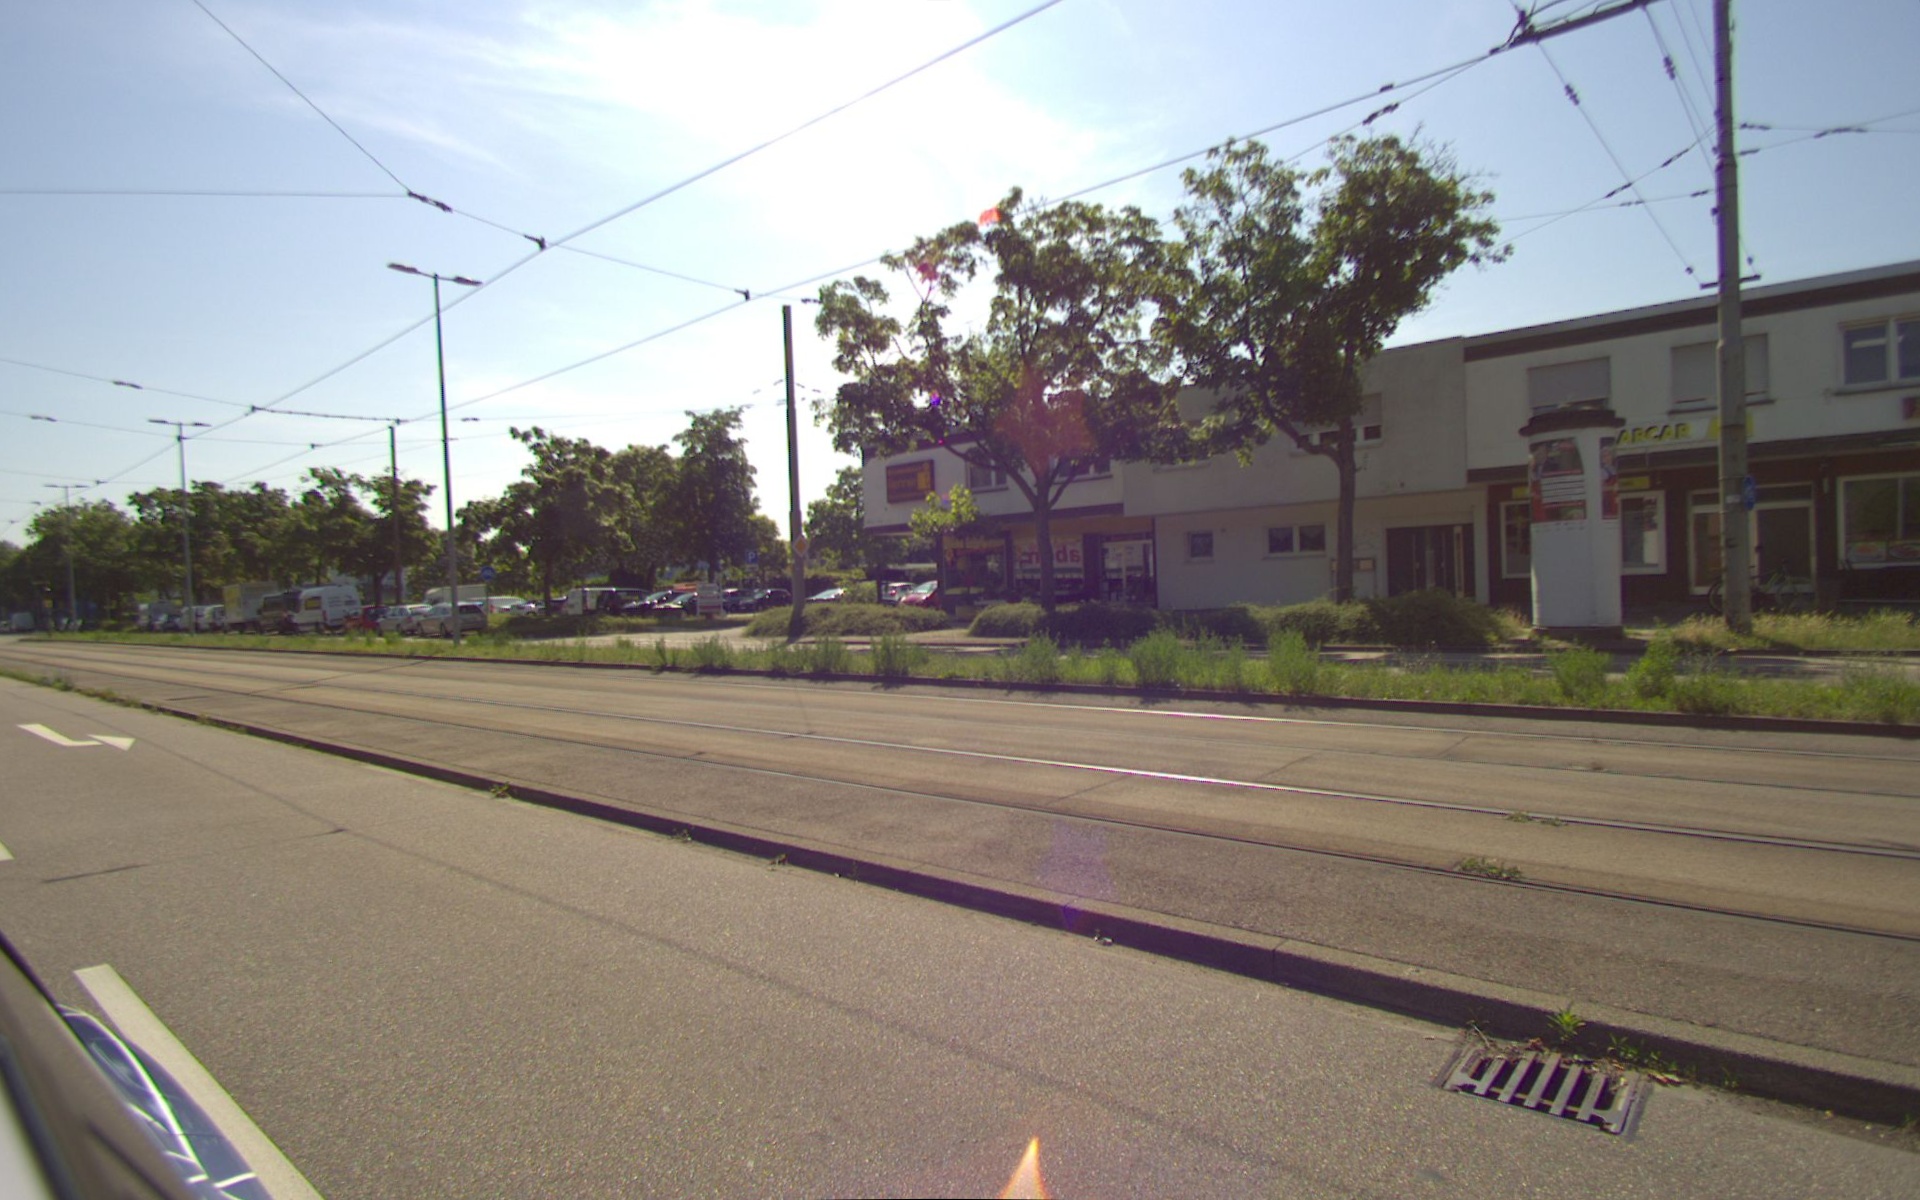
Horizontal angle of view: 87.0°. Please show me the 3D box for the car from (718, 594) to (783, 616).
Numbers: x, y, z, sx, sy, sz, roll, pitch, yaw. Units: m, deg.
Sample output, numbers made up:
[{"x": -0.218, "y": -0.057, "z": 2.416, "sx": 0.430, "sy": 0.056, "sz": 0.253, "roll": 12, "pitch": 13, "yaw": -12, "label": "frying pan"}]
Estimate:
[{"x": -14.428, "y": 0.345, "z": 69.872, "sx": 1.676, "sy": 1.345, "sz": 4.197, "roll": -2, "pitch": 1, "yaw": 43, "label": "car"}]

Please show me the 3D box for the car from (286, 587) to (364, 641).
[{"x": -34.881, "y": 0.793, "z": 55.568, "sx": 5.201, "sy": 2.673, "sz": 2.036, "roll": -2, "pitch": 4, "yaw": 41, "label": "car"}]

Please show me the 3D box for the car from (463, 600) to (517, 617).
[{"x": -43.483, "y": 0.766, "z": 93.606, "sx": 1.676, "sy": 1.345, "sz": 4.198, "roll": -2, "pitch": 1, "yaw": 42, "label": "car"}]

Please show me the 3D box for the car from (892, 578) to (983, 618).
[{"x": -0.980, "y": -0.116, "z": 45.988, "sx": 1.676, "sy": 1.616, "sz": 4.197, "roll": -2, "pitch": 1, "yaw": 43, "label": "car"}]

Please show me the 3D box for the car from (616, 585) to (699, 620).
[{"x": -15.667, "y": 0.129, "z": 52.476, "sx": 1.676, "sy": 1.646, "sz": 3.761, "roll": -2, "pitch": 1, "yaw": 43, "label": "car"}]

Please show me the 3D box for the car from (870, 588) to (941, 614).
[{"x": -3.178, "y": 0.048, "z": 59.743, "sx": 1.676, "sy": 1.345, "sz": 4.197, "roll": -2, "pitch": 1, "yaw": 43, "label": "car"}]

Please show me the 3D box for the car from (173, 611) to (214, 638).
[{"x": -57.439, "y": 1.867, "z": 75.824, "sx": 4.056, "sy": 1.859, "sz": 1.484, "roll": -2, "pitch": 4, "yaw": 40, "label": "car"}]

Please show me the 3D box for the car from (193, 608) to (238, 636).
[{"x": -52.365, "y": 1.549, "z": 71.155, "sx": 4.631, "sy": 1.817, "sz": 1.483, "roll": -2, "pitch": 4, "yaw": 41, "label": "car"}]

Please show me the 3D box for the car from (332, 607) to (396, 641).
[{"x": -30.838, "y": 1.244, "z": 52.337, "sx": 3.791, "sy": 1.544, "sz": 1.654, "roll": -2, "pitch": 4, "yaw": 41, "label": "car"}]

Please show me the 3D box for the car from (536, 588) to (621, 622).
[{"x": -21.734, "y": 0.293, "z": 57.719, "sx": 1.988, "sy": 1.751, "sz": 4.068, "roll": -2, "pitch": 1, "yaw": 38, "label": "car"}]

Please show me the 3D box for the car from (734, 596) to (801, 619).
[{"x": -12.824, "y": 0.476, "z": 67.621, "sx": 1.676, "sy": 1.345, "sz": 4.197, "roll": -2, "pitch": 1, "yaw": 43, "label": "car"}]

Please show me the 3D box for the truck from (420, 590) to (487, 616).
[{"x": -50.598, "y": 0.288, "z": 101.190, "sx": 1.988, "sy": 2.398, "sz": 5.584, "roll": -2, "pitch": 1, "yaw": 38, "label": "truck"}]

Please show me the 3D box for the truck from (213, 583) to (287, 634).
[{"x": -45.815, "y": 0.562, "z": 65.235, "sx": 5.902, "sy": 2.956, "sz": 2.476, "roll": -2, "pitch": 4, "yaw": 42, "label": "truck"}]

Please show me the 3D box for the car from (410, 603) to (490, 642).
[{"x": -22.829, "y": 1.008, "z": 45.246, "sx": 4.255, "sy": 1.544, "sz": 1.654, "roll": -2, "pitch": 4, "yaw": 41, "label": "car"}]

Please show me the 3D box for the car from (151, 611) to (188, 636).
[{"x": -62.072, "y": 1.856, "z": 79.455, "sx": 3.685, "sy": 1.799, "sz": 1.484, "roll": -2, "pitch": 4, "yaw": 40, "label": "car"}]

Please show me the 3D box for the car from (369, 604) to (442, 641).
[{"x": -26.867, "y": 1.099, "z": 49.025, "sx": 4.255, "sy": 1.544, "sz": 1.654, "roll": -2, "pitch": 4, "yaw": 41, "label": "car"}]

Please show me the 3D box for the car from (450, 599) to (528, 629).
[{"x": -30.982, "y": 0.942, "z": 66.479, "sx": 5.739, "sy": 1.824, "sz": 2.560, "roll": -2, "pitch": 1, "yaw": 42, "label": "car"}]

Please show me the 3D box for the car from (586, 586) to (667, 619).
[{"x": -17.917, "y": 0.126, "z": 54.497, "sx": 1.676, "sy": 1.646, "sz": 3.761, "roll": -2, "pitch": 1, "yaw": 43, "label": "car"}]

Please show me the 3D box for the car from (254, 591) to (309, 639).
[{"x": -39.826, "y": 0.902, "z": 59.361, "sx": 4.005, "sy": 2.643, "sz": 1.483, "roll": -2, "pitch": 4, "yaw": 41, "label": "car"}]

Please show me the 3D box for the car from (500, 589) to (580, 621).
[{"x": -25.717, "y": 0.280, "z": 62.054, "sx": 1.988, "sy": 1.751, "sz": 4.068, "roll": -2, "pitch": 1, "yaw": 38, "label": "car"}]

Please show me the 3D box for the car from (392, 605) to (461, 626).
[{"x": -39.740, "y": 1.116, "z": 75.503, "sx": 1.676, "sy": 1.345, "sz": 4.198, "roll": -2, "pitch": 1, "yaw": 42, "label": "car"}]

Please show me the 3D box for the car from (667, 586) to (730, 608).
[{"x": -18.774, "y": -0.230, "z": 72.753, "sx": 1.674, "sy": 1.345, "sz": 4.201, "roll": -2, "pitch": 1, "yaw": 39, "label": "car"}]

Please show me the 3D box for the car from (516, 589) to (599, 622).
[{"x": -23.600, "y": 0.285, "z": 59.395, "sx": 1.988, "sy": 1.751, "sz": 4.068, "roll": -2, "pitch": 1, "yaw": 38, "label": "car"}]

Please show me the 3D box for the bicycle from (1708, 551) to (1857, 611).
[{"x": 16.951, "y": -0.365, "z": 20.907, "sx": 2.333, "sy": 1.161, "sz": 0.779, "roll": -1, "pitch": -1, "yaw": 42, "label": "bicycle"}]

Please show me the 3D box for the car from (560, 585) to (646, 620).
[{"x": -19.788, "y": 0.111, "z": 56.202, "sx": 1.988, "sy": 1.751, "sz": 4.068, "roll": -2, "pitch": 1, "yaw": 38, "label": "car"}]

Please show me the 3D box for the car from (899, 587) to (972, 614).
[{"x": -1.344, "y": -0.005, "z": 57.465, "sx": 1.676, "sy": 1.345, "sz": 4.197, "roll": -2, "pitch": 1, "yaw": 43, "label": "car"}]
